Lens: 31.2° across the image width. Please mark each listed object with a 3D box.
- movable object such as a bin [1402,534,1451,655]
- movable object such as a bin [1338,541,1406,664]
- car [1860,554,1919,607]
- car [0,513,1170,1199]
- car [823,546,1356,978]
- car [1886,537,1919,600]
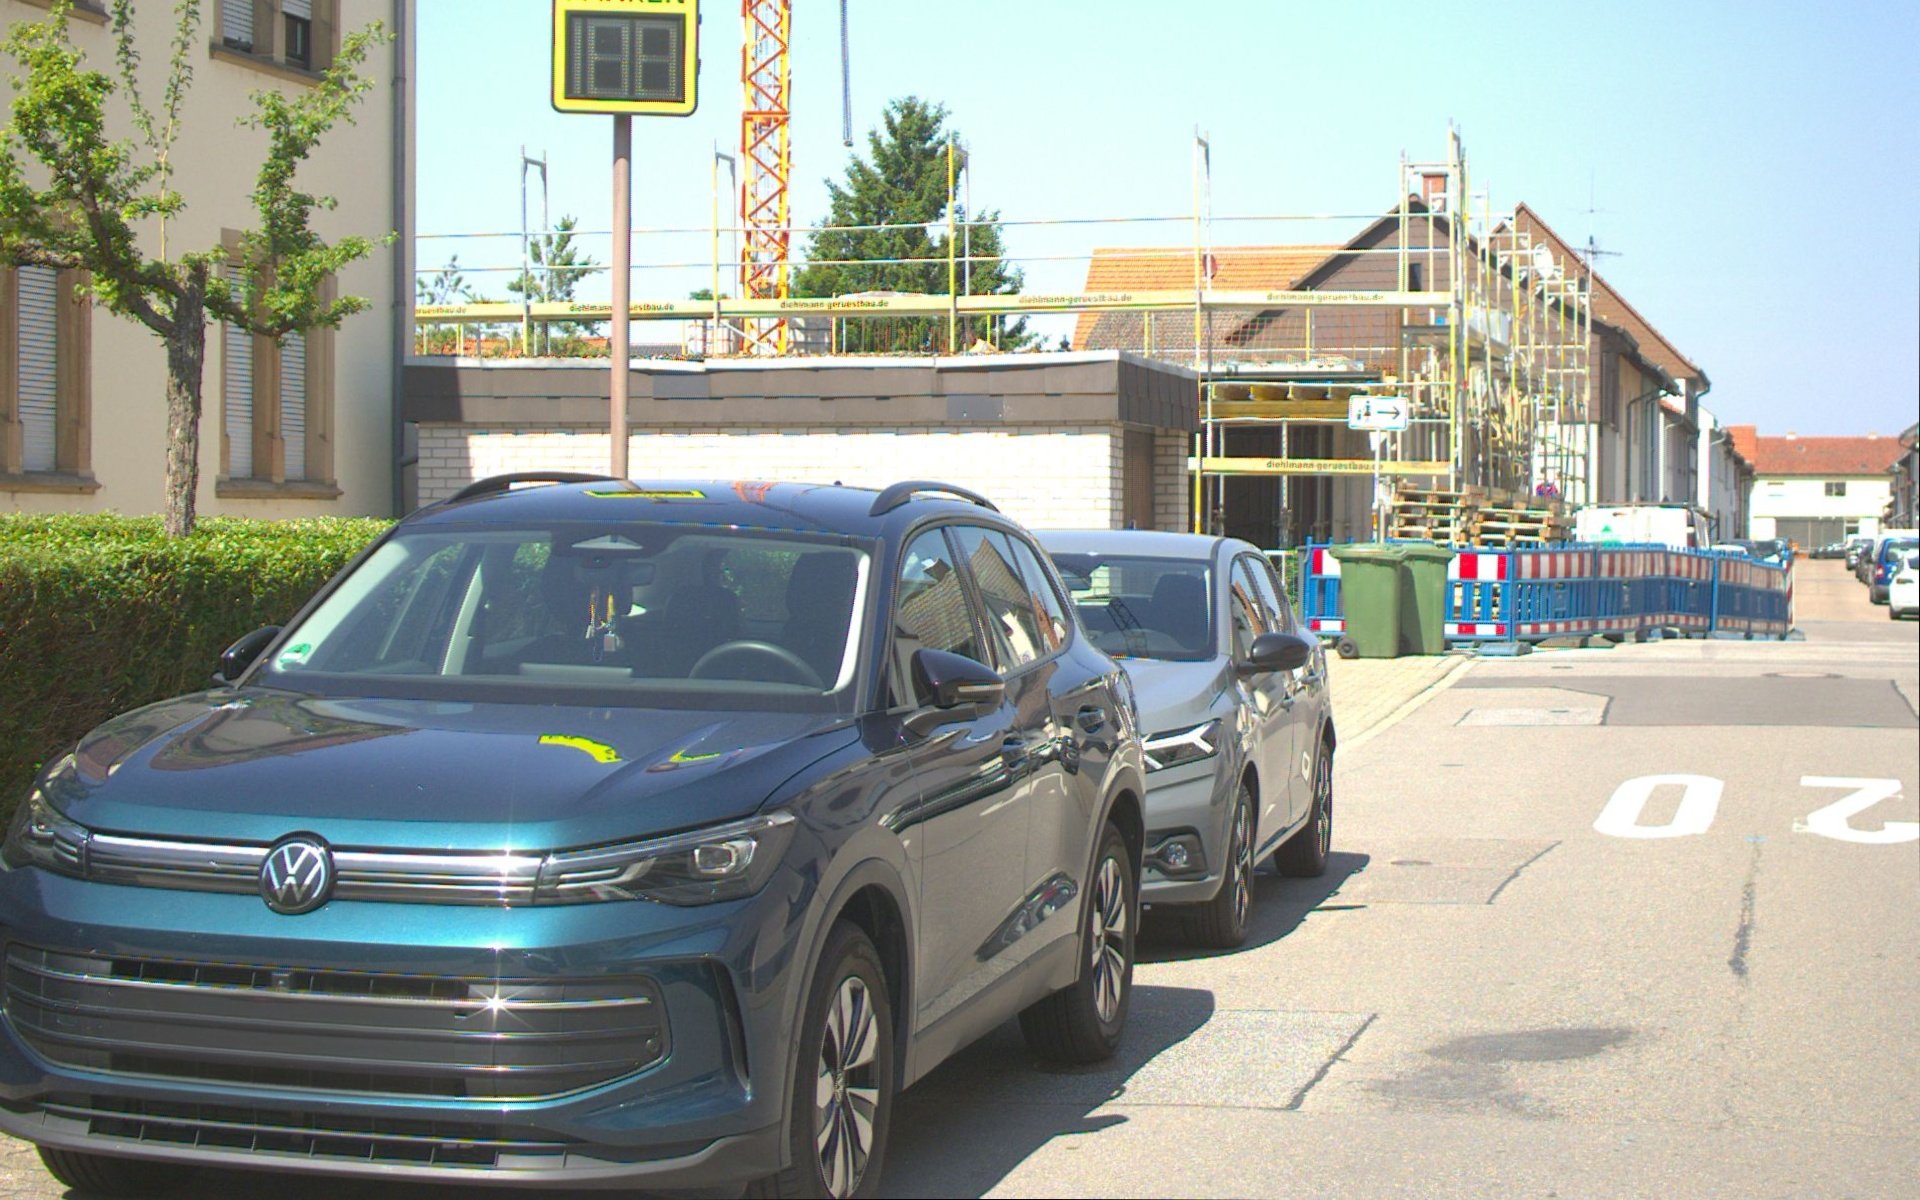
[{"bbox_3d":[4.485,-0.058,33.059,0.431,1.151,0.364,0,1,5],"label":"movable object such as a bin"},{"bbox_3d":[3.921,0.019,32.709,0.622,1.151,0.677,0,1,7],"label":"movable object such as a bin"},{"bbox_3d":[25.264,-0.538,93.111,1.556,1.382,3.448,1,1,12],"label":"car"},{"bbox_3d":[-0.795,0.616,8.501,1.827,1.625,4.214,1,1,15],"label":"car"},{"bbox_3d":[0.645,0.528,13.699,1.437,1.469,3.784,0,1,13],"label":"car"},{"bbox_3d":[22.157,-0.733,78.436,1.969,1.382,3.997,1,1,15],"label":"car"}]
